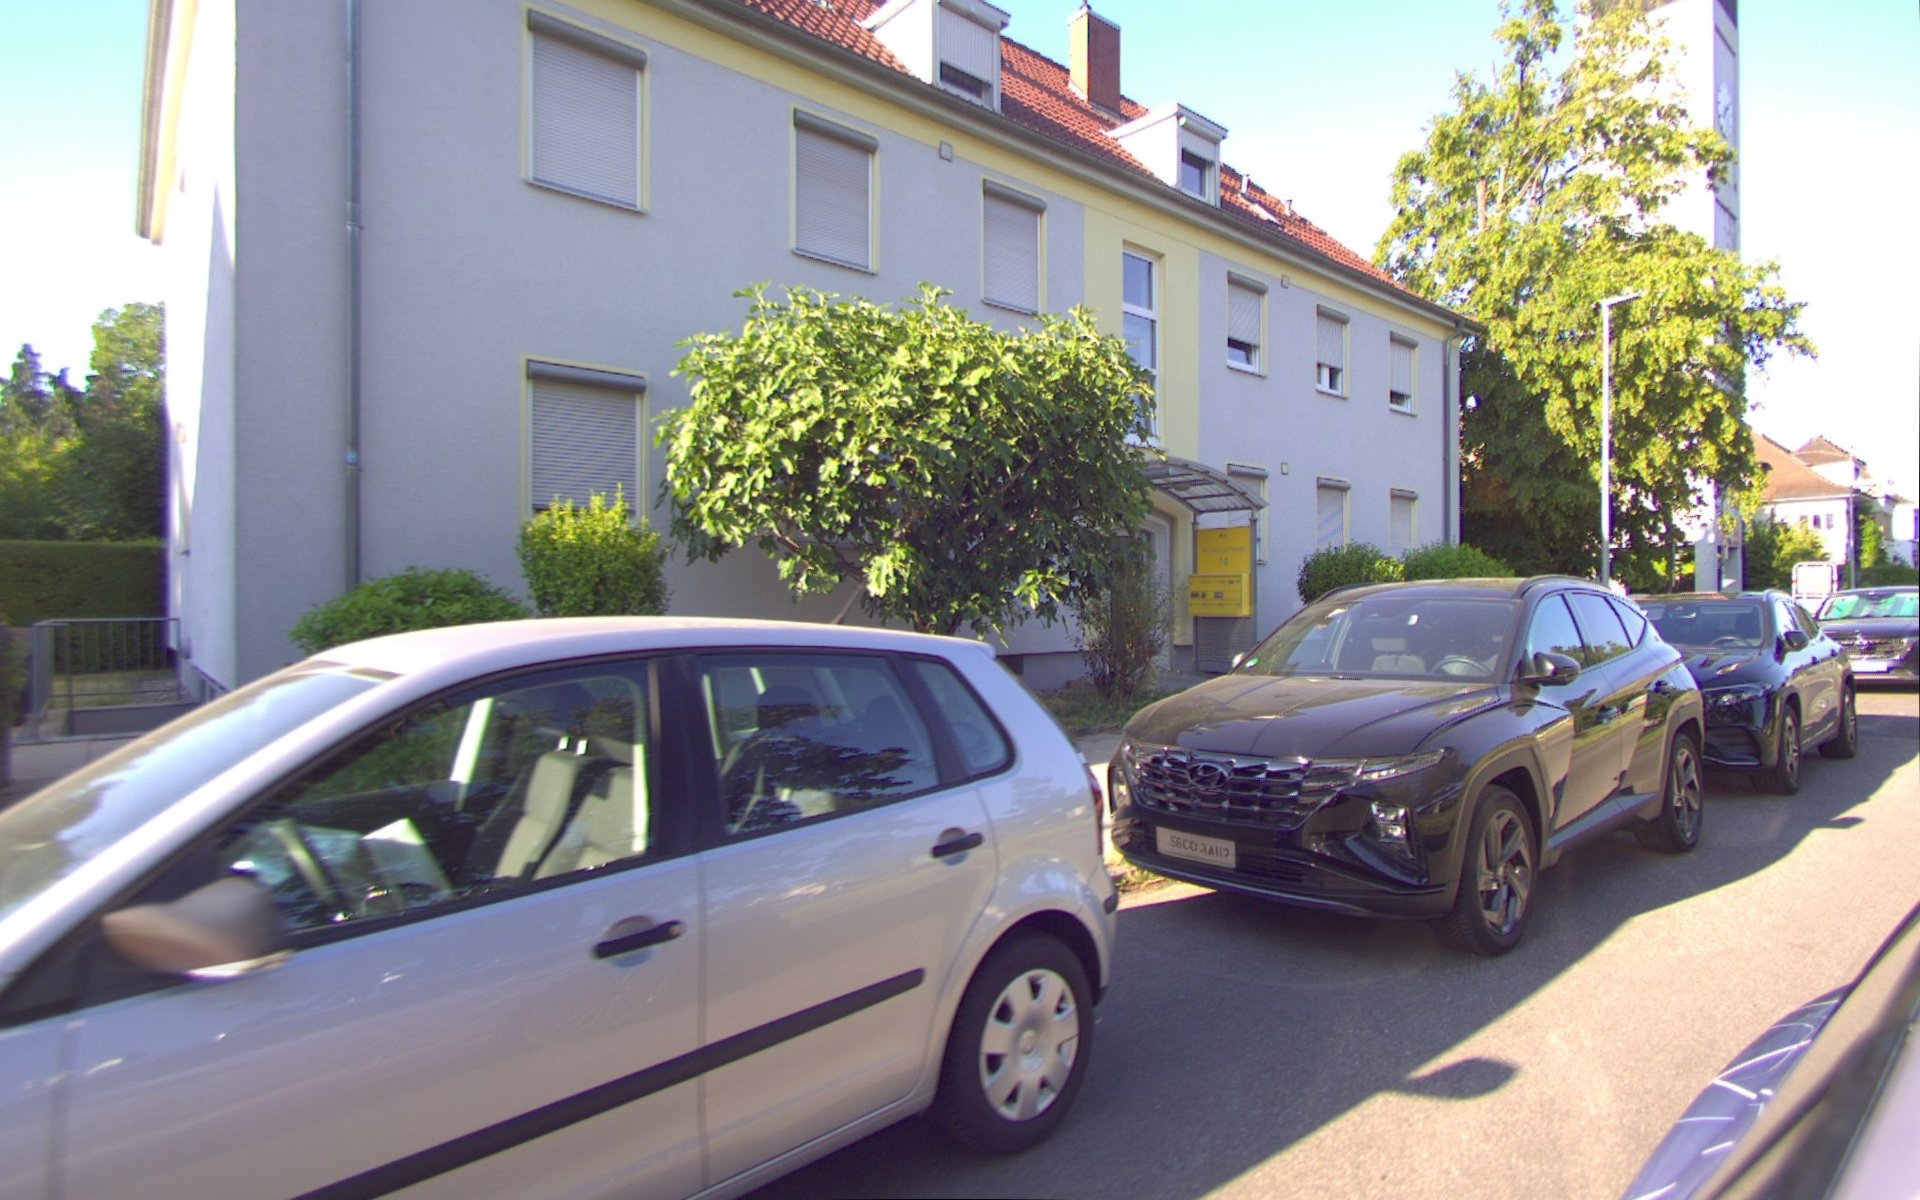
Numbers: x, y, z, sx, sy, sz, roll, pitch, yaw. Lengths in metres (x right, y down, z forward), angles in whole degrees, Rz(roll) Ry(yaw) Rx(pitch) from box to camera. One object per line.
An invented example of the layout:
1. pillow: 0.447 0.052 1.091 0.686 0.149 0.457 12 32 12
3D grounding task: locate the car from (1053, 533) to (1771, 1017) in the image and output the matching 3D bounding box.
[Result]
1. car: 2.859 0.606 5.767 4.734 1.678 1.857 0 -1 -40

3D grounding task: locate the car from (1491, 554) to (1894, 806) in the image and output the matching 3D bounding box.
1. car: 6.836 0.582 9.245 4.540 1.743 1.936 0 -2 -41

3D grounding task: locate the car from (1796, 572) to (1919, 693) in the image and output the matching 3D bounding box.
1. car: 15.468 0.438 16.630 4.945 1.754 1.835 -2 -1 -41

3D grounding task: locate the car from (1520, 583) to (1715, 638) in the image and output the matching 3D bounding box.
1. car: 20.887 0.317 32.316 1.969 1.504 4.855 -5 3 -40

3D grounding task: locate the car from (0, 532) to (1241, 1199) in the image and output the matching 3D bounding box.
1. car: -1.279 0.744 2.384 4.137 1.568 1.729 -2 -3 -43
